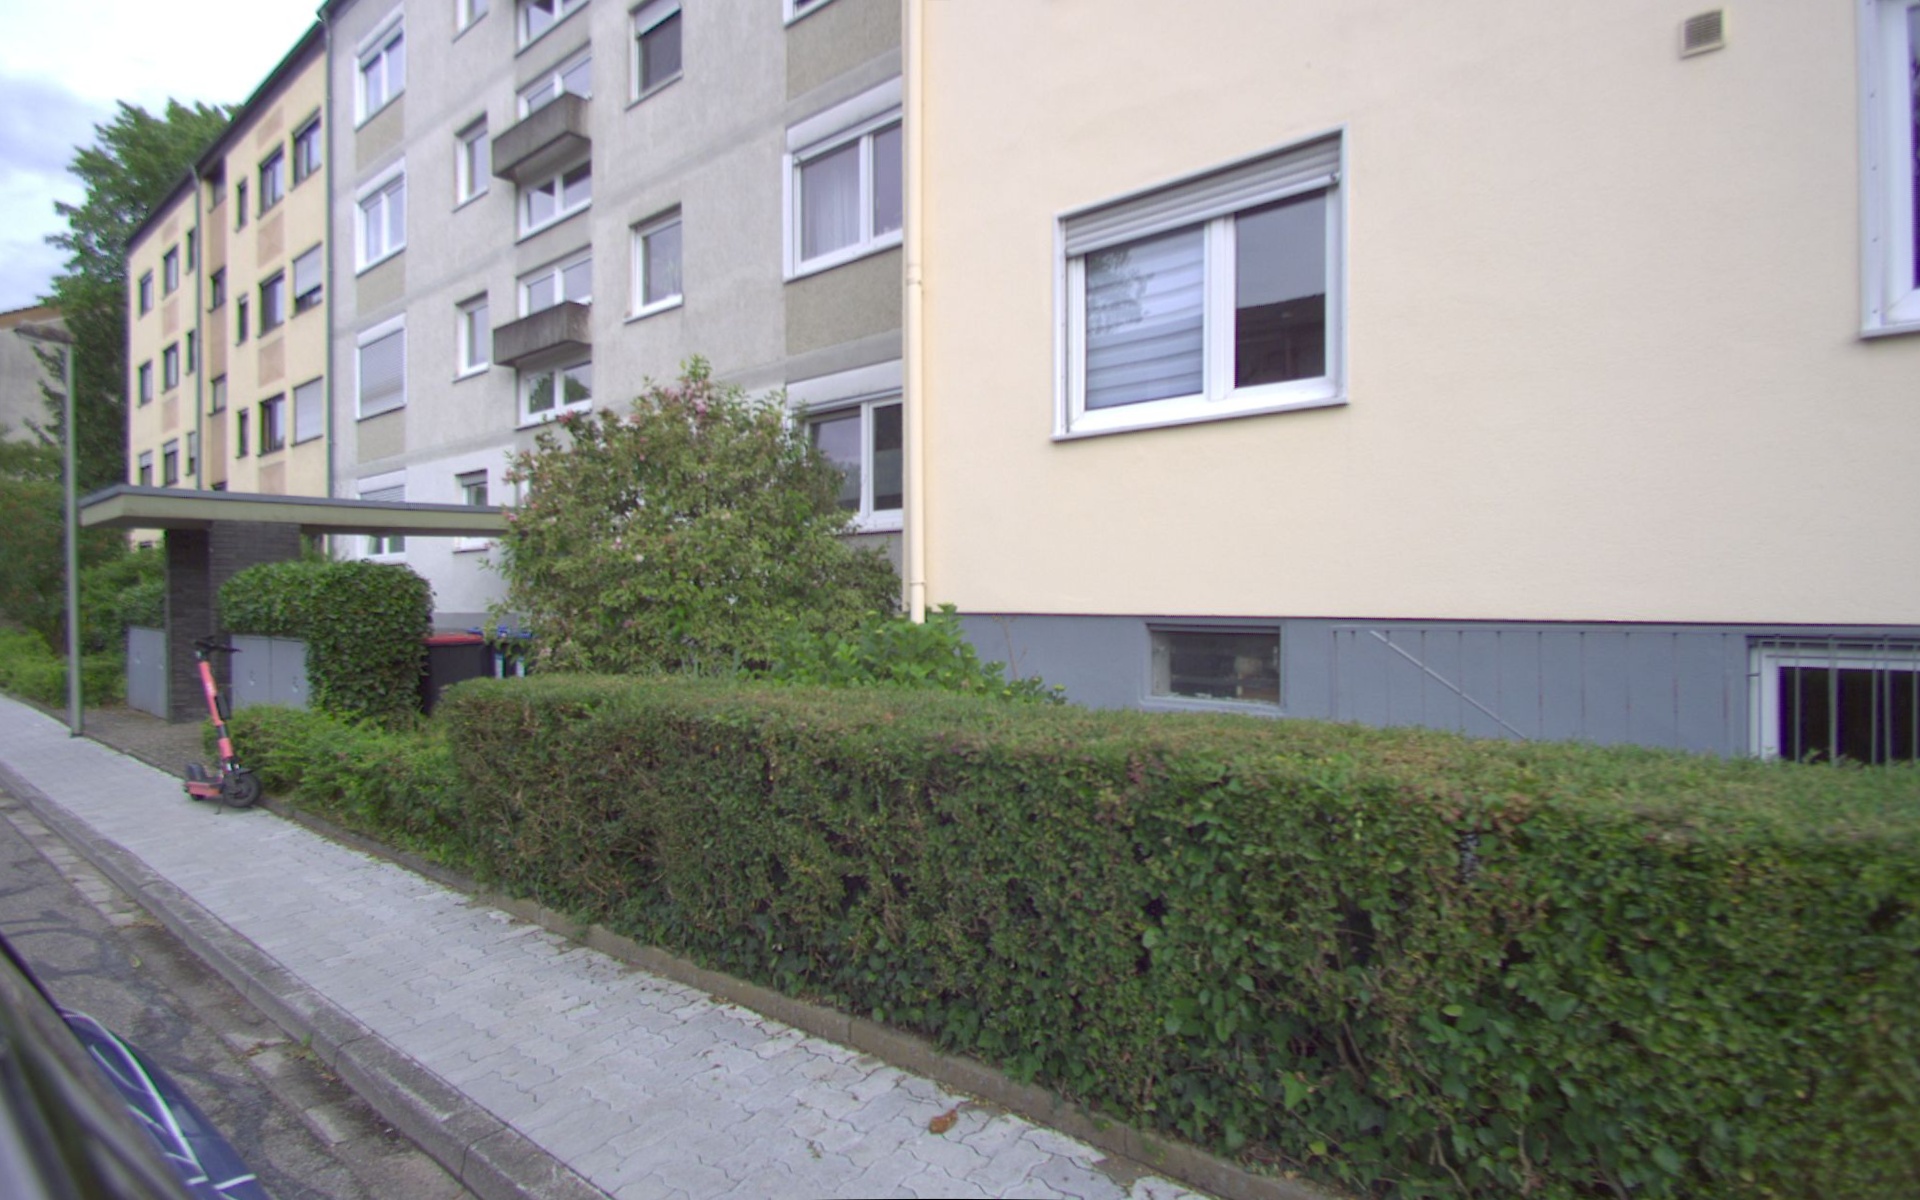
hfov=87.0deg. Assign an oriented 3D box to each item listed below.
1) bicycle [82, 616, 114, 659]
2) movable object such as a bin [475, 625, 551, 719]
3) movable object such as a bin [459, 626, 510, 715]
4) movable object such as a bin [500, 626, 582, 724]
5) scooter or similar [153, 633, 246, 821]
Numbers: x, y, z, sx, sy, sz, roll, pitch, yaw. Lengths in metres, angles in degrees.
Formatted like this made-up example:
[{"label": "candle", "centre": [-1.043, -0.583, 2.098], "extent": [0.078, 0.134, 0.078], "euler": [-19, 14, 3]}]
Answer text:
[{"label": "bicycle", "centre": [-21.706, 0.944, 25.462], "extent": [1.689, 1.059, 0.312], "euler": [-3, -3, 39]}, {"label": "movable object such as a bin", "centre": [-5.194, 0.820, 11.770], "extent": [0.589, 1.042, 0.617], "euler": [-1, -1, 40]}, {"label": "movable object such as a bin", "centre": [-5.737, 0.836, 12.206], "extent": [0.528, 1.027, 0.582], "euler": [0, -1, -28]}, {"label": "movable object such as a bin", "centre": [-4.703, 0.816, 11.349], "extent": [0.665, 1.042, 0.617], "euler": [-1, -1, 40]}, {"label": "scooter or similar", "centre": [-5.383, 0.853, 7.148], "extent": [1.163, 1.220, 0.270], "euler": [-1, -1, 40]}]
